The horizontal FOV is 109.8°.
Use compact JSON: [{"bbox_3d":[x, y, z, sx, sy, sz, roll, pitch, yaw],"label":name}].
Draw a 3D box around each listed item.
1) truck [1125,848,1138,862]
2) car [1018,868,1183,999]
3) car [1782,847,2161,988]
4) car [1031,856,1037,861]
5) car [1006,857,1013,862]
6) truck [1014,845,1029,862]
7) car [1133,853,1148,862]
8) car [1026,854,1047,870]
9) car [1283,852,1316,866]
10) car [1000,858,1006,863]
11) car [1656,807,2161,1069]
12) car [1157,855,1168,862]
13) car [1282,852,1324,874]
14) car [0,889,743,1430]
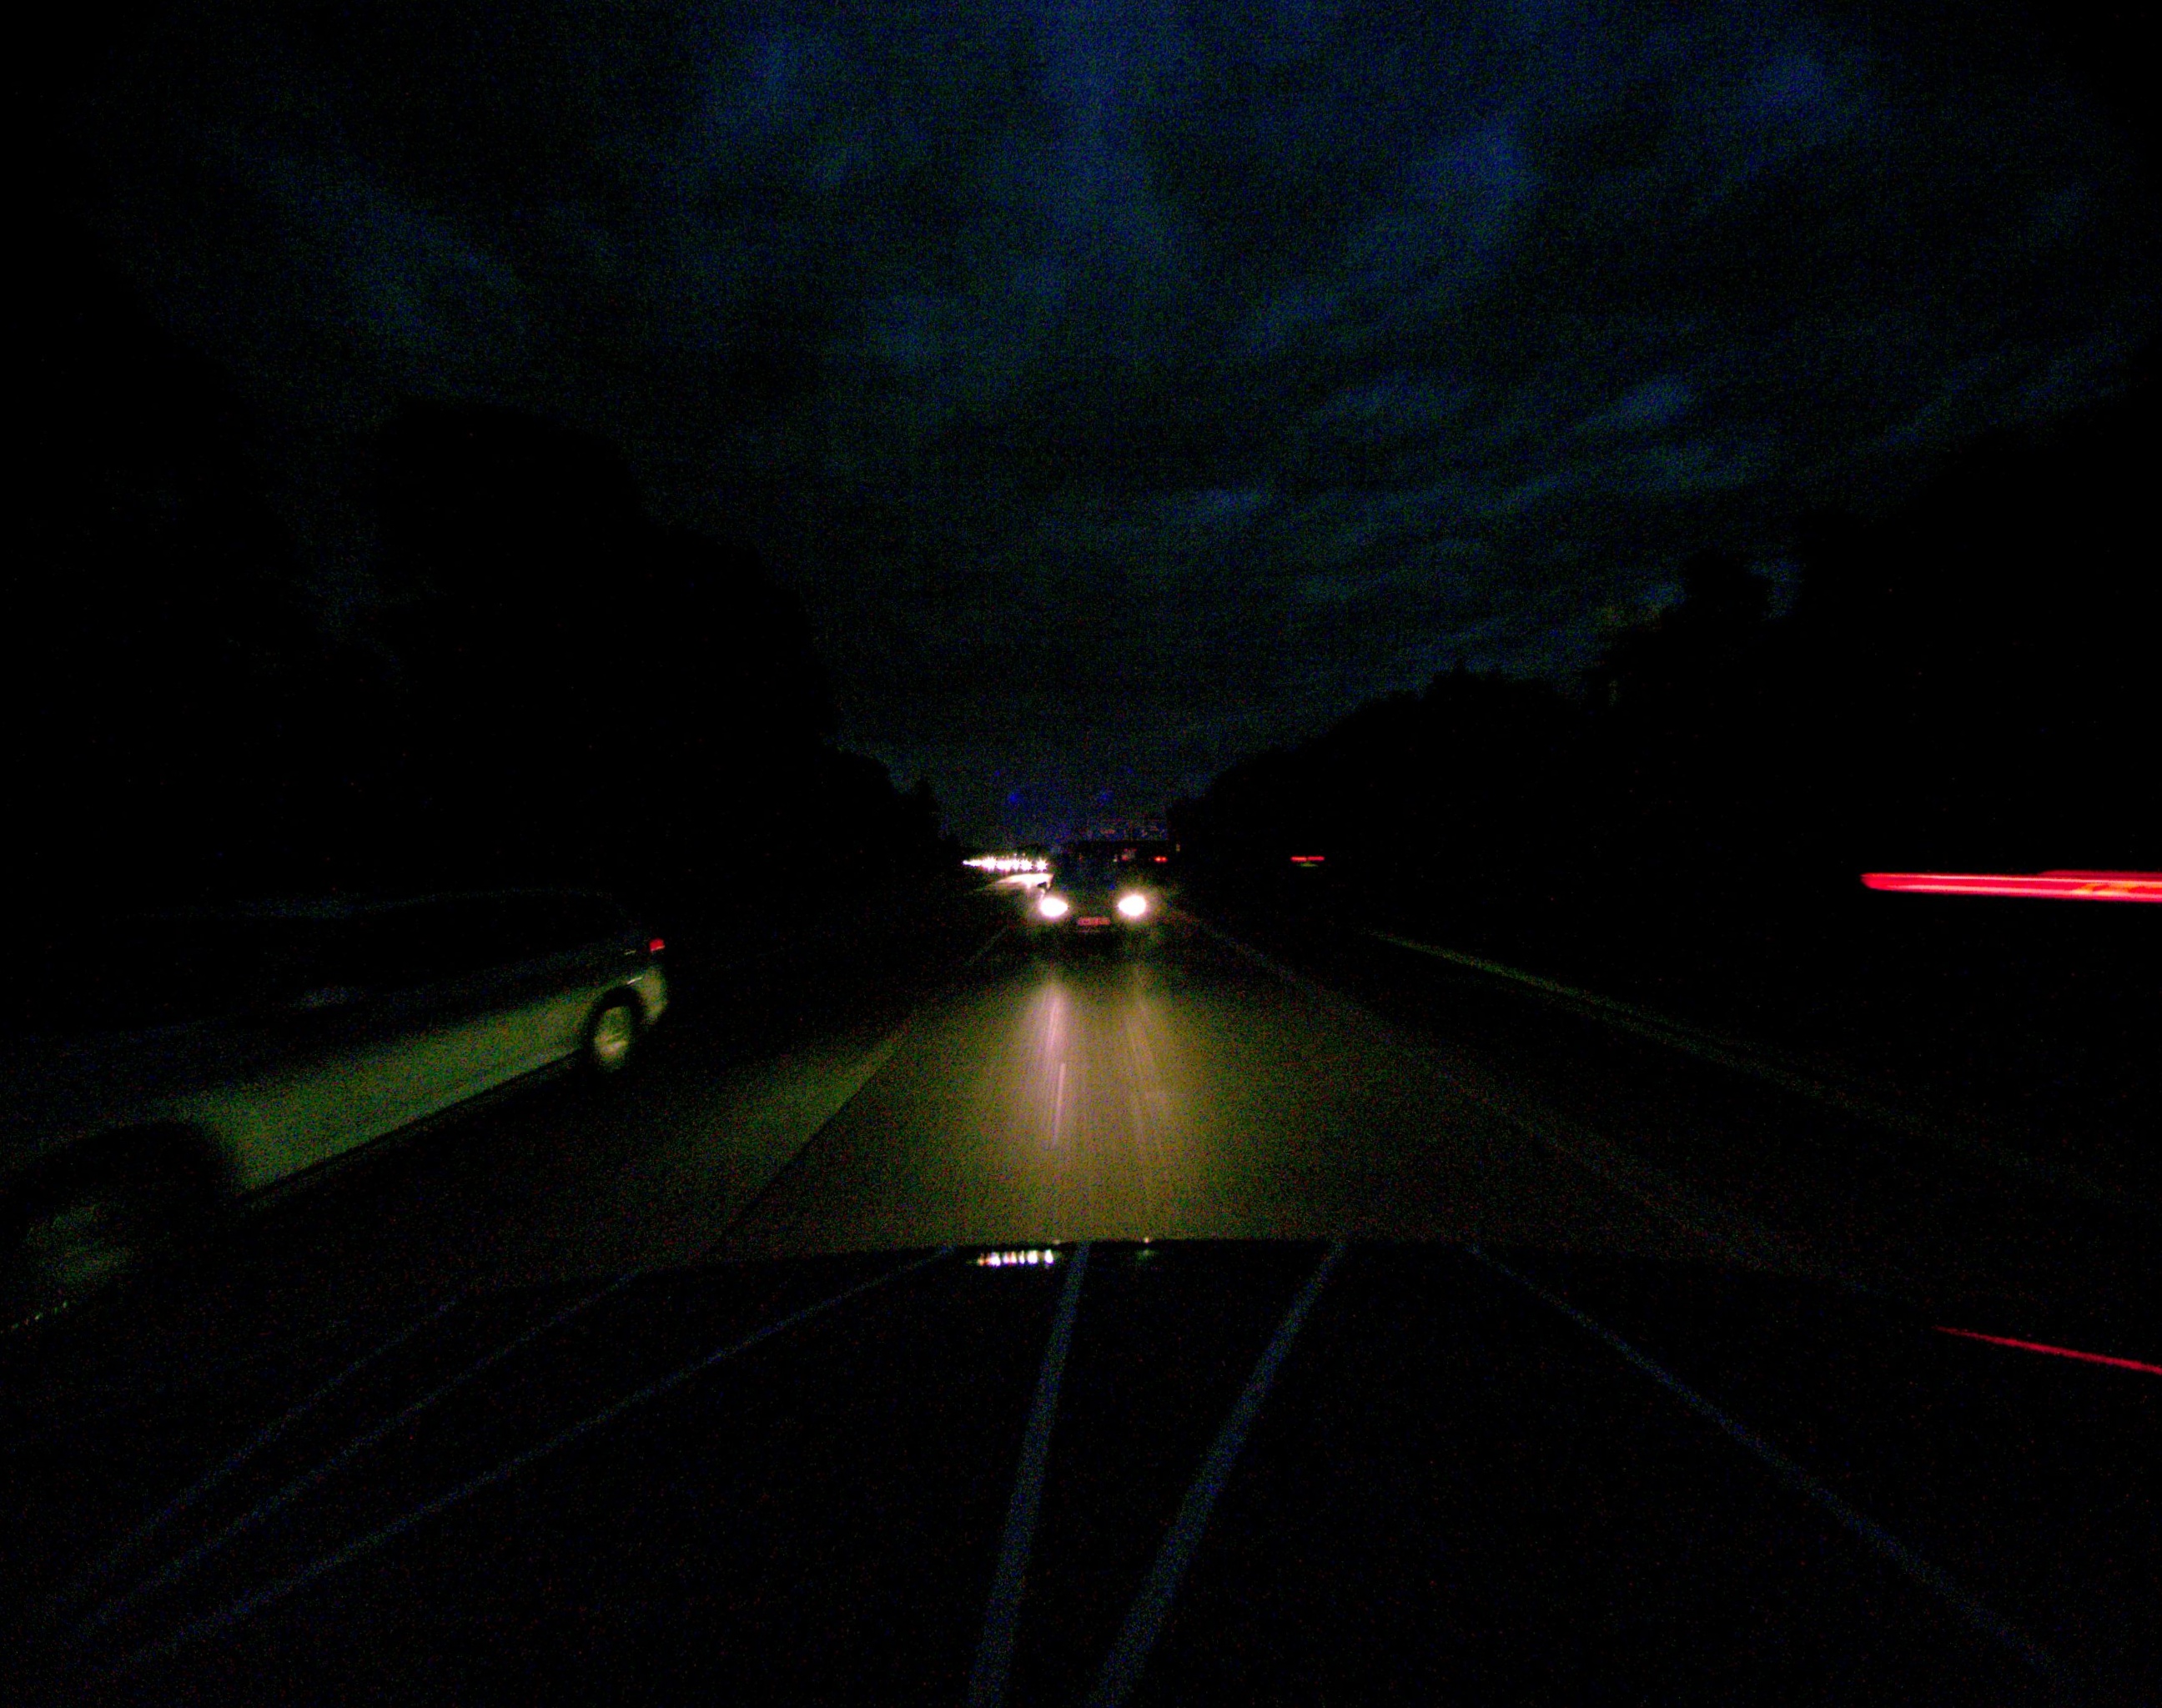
[{"bbox_3d":[14.825,0.356,223.892,2.652,3.987,10.541,-1,0,-3],"label":"truck"},{"bbox_3d":[0.270,0.966,11.055,1.879,1.435,4.451,-1,0,1],"label":"car"},{"bbox_3d":[12.068,0.662,9.847,1.879,1.435,4.451,-1,0,0],"label":"car"},{"bbox_3d":[-14.828,1.362,238.907,1.819,1.372,4.198,-2,0,-1],"label":"car"},{"bbox_3d":[-20.587,1.556,218.316,1.819,1.372,4.042,-2,0,-1],"label":"car"},{"bbox_3d":[-15.208,-0.079,194.335,3.145,3.987,10.542,-1,0,-2],"label":"truck"},{"bbox_3d":[9.497,0.584,121.769,1.819,1.372,4.907,-2,0,-1],"label":"car"},{"bbox_3d":[-4.535,0.849,77.336,1.999,1.539,3.999,-1,0,-2],"label":"car"},{"bbox_3d":[22.347,0.484,77.844,1.819,1.372,4.907,-2,0,-1],"label":"car"},{"bbox_3d":[-26.492,2.149,257.456,2.000,1.539,3.998,-1,0,-6],"label":"car"},{"bbox_3d":[8.367,0.569,7.311,1.998,1.787,4.831,-1,0,0],"label":"car"},{"bbox_3d":[18.189,0.916,169.946,1.855,1.488,4.594,-1,0,-2],"label":"car"},{"bbox_3d":[15.226,0.593,52.361,1.847,1.446,3.602,-2,0,1],"label":"car"},{"bbox_3d":[-4.148,1.046,4.677,1.813,1.457,5.132,-1,-1,0],"label":"car"}]
